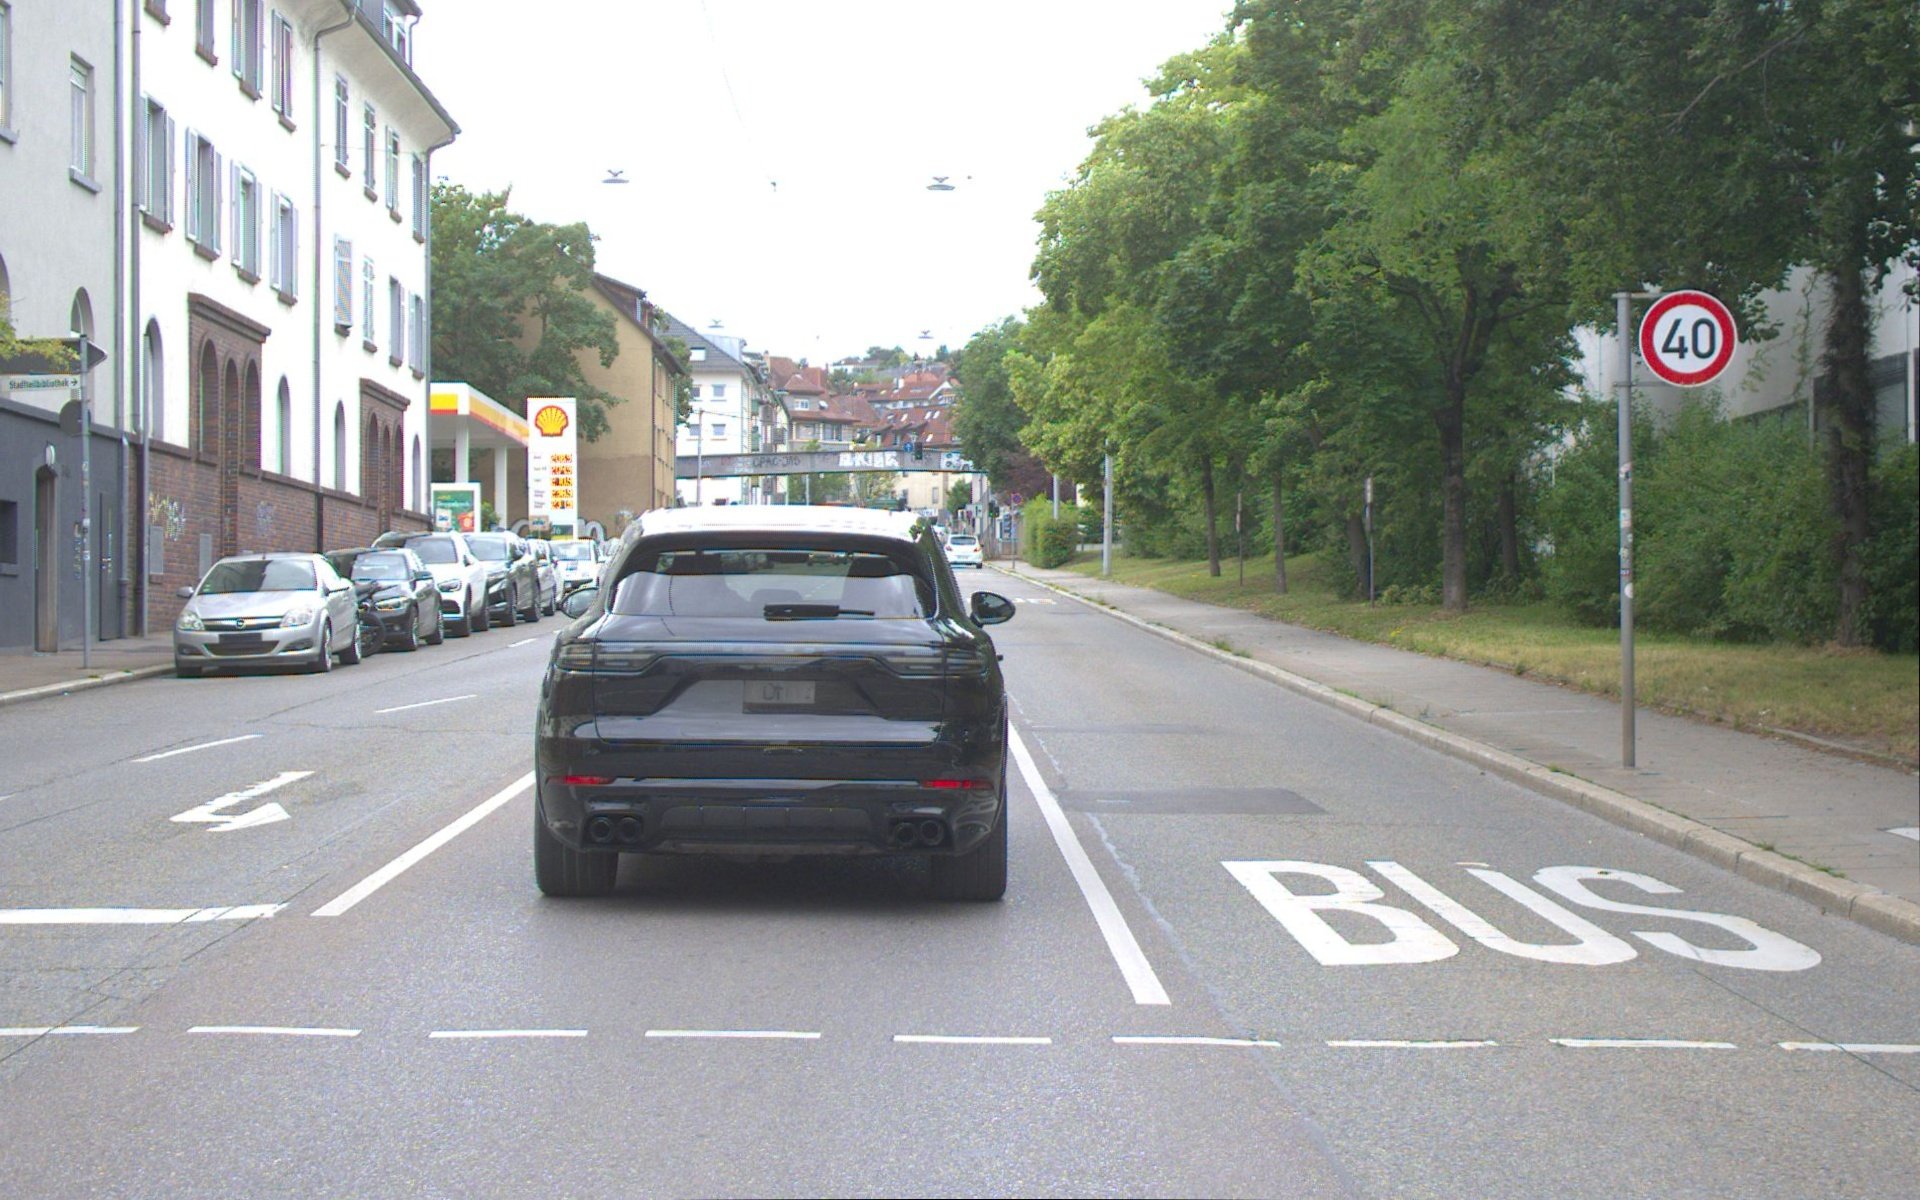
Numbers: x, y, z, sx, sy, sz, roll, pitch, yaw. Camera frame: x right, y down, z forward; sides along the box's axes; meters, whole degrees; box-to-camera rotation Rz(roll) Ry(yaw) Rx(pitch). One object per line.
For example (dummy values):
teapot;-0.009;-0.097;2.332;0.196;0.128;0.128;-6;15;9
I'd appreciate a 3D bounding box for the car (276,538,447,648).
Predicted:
car;-8.275;-0.129;47.868;1.727;1.424;4.192;0;1;-1

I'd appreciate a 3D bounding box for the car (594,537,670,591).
car;-9.245;-1.031;97.018;1.790;1.445;4.218;-1;1;-1

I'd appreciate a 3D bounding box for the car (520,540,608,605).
car;-9.037;-0.655;78.728;1.619;1.420;3.665;0;1;-1

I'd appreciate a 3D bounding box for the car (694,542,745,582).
car;-10.138;-1.622;145.224;1.783;1.603;4.265;-2;1;0

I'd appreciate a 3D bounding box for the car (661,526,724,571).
car;-9.575;-1.864;123.236;1.915;1.572;4.700;-1;1;0

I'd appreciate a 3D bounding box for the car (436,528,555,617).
car;-8.702;-0.533;64.664;1.727;1.553;4.082;-2;1;-2

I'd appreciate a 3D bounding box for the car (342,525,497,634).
car;-8.470;-0.358;54.189;1.845;1.615;4.644;0;1;-2

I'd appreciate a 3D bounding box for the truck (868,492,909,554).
truck;-4.049;-4.323;194.457;2.266;3.412;9.879;0;1;-1

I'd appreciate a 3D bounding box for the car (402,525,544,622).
car;-8.375;-0.494;59.481;1.727;1.593;4.502;0;1;1

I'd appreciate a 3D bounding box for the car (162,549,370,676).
car;-8.119;0.103;40.559;1.727;1.369;4.338;0;1;-2

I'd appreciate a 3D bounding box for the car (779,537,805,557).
car;-12.356;-3.897;253.004;1.765;1.503;4.000;0;1;0

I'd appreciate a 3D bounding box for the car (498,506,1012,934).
car;-0.826;0.417;15.471;1.993;1.656;4.000;1;2;-1

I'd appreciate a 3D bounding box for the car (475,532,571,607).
car;-8.821;-0.639;69.595;1.547;1.470;3.604;0;1;-1

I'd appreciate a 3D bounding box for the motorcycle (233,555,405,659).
motorcycle;-8.247;0.079;44.240;2.039;1.231;0.808;-3;2;-18

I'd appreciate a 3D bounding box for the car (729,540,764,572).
car;-10.879;-2.237;175.368;1.745;1.563;3.909;-1;1;-3
